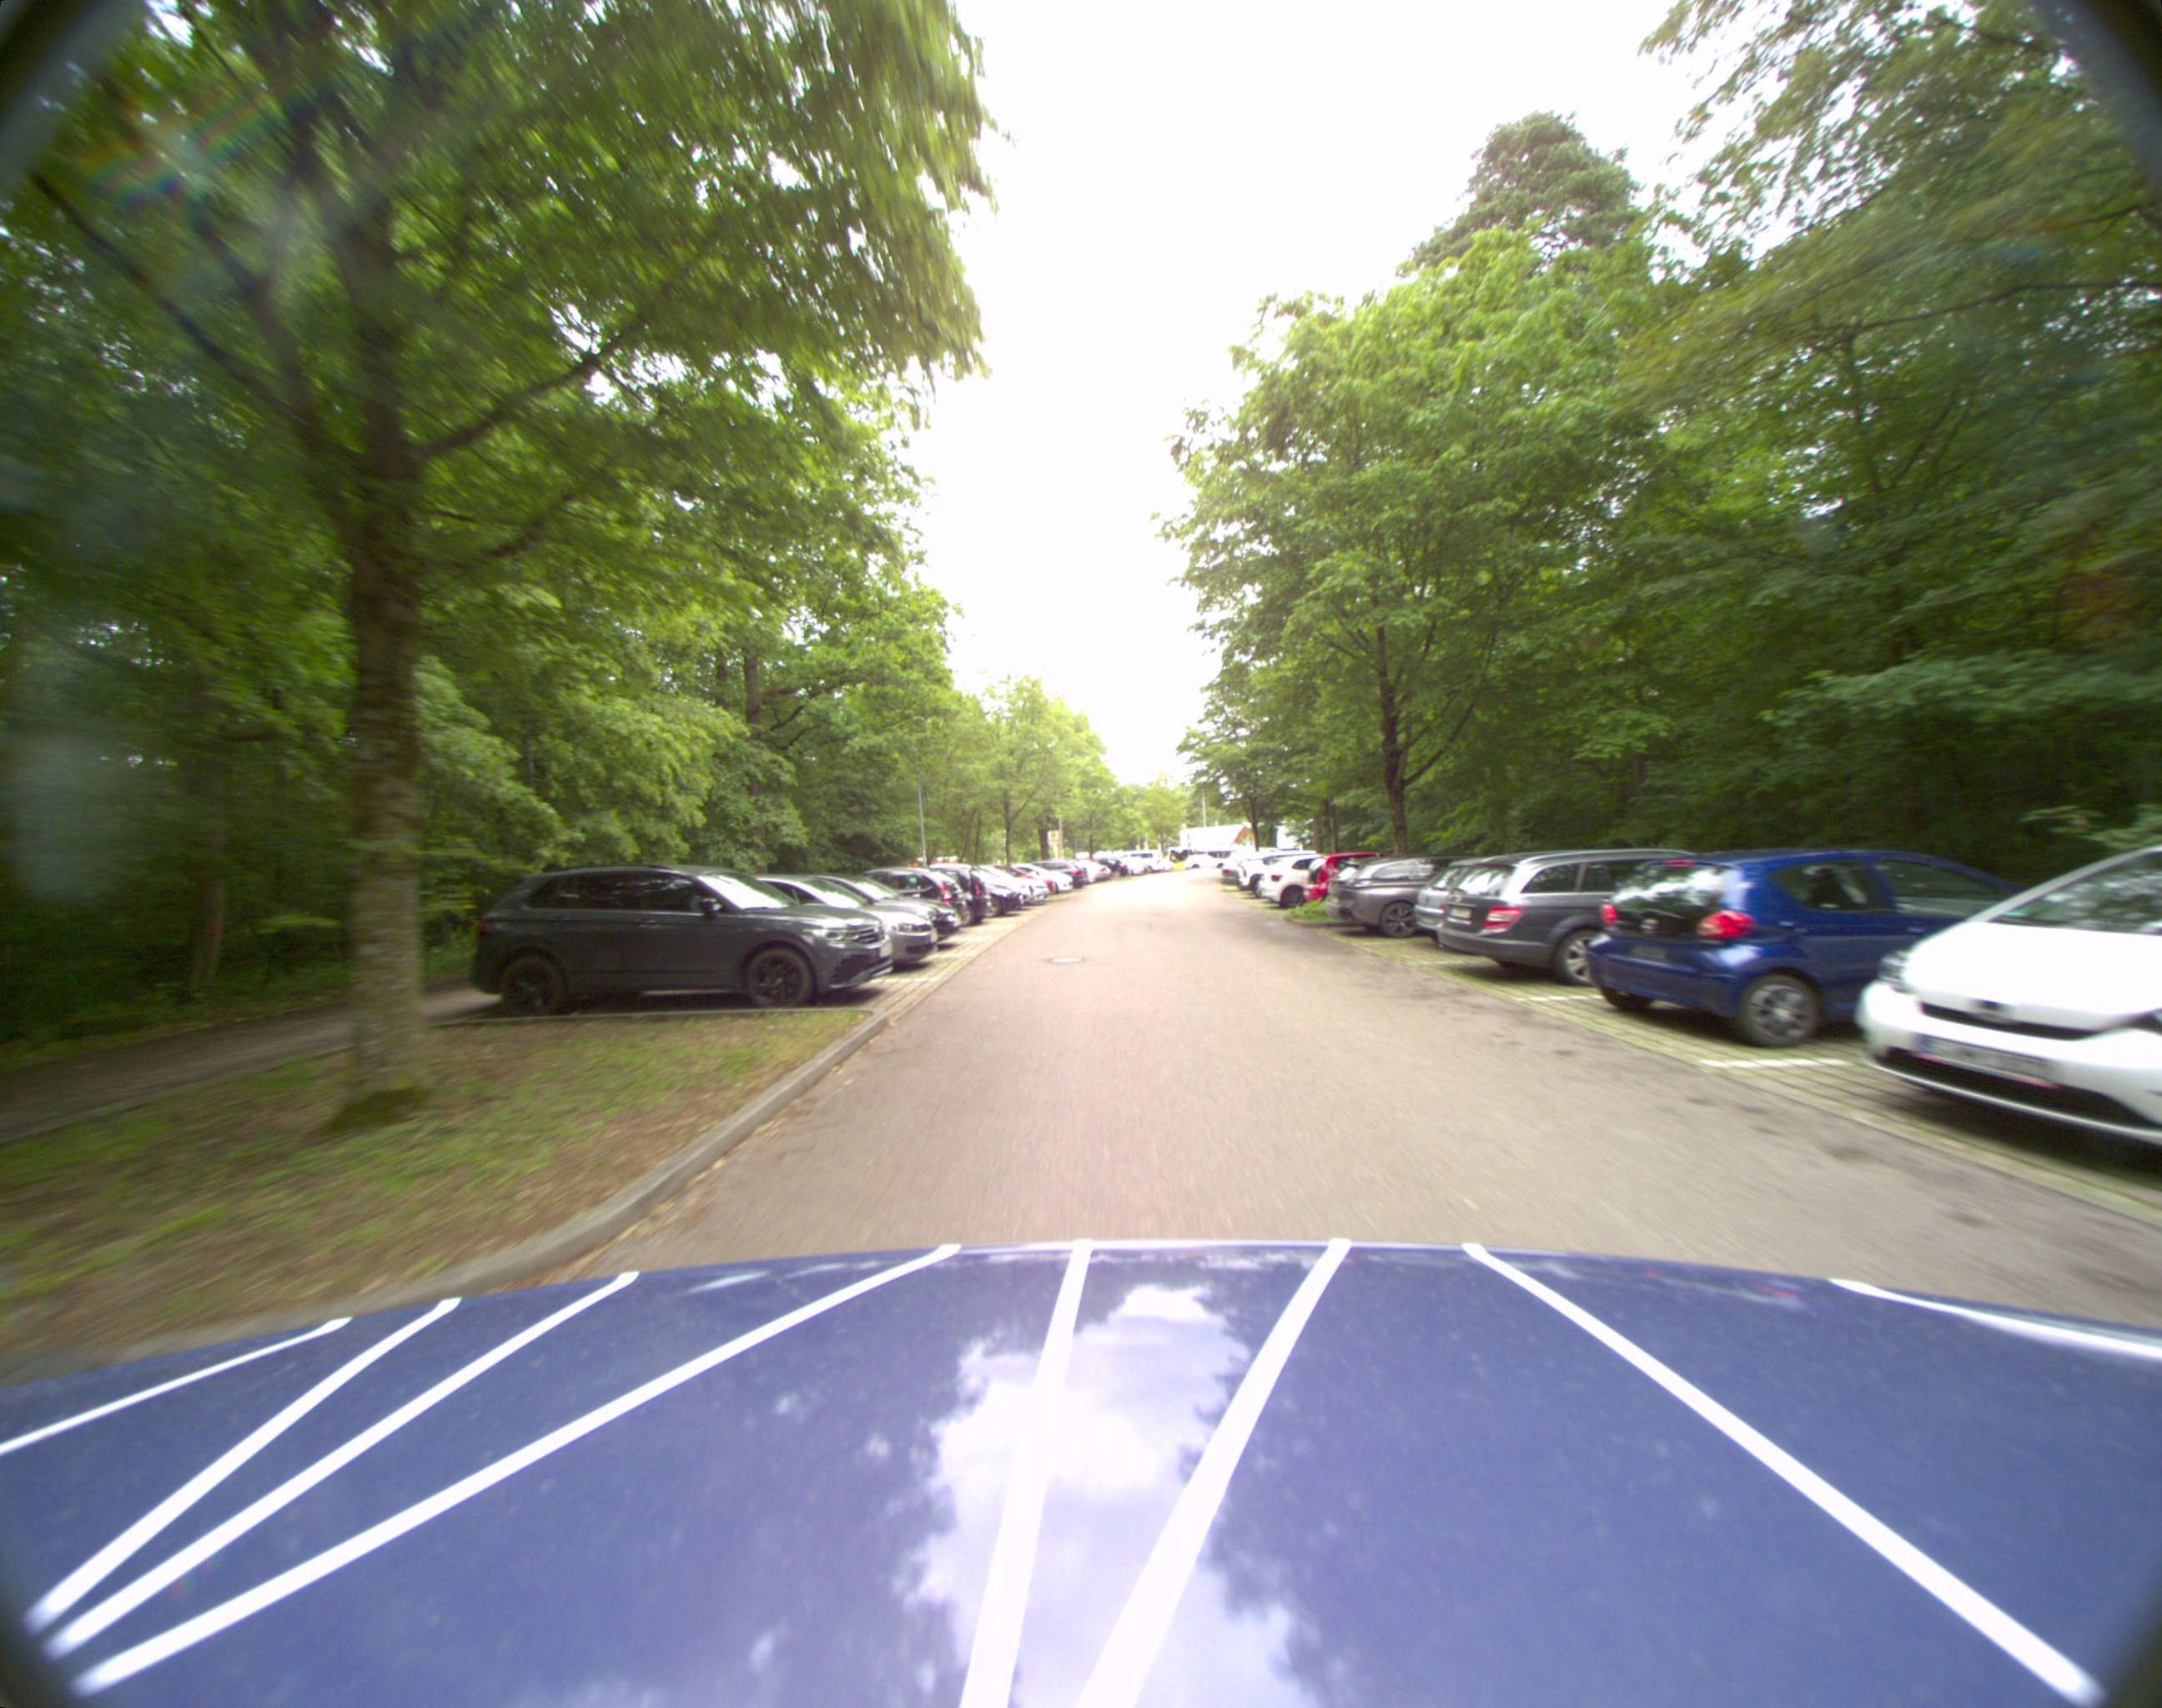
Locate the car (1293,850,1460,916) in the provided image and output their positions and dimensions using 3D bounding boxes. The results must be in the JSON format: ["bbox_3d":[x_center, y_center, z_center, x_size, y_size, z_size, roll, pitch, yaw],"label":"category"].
[{"bbox_3d":[7.154,0.689,18.663,3.472,1.472,1.684,-1,0,5],"label":"car"}]

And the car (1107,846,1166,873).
[{"bbox_3d":[4.877,0.499,66.248,4.655,2.008,2.086,-4,-2,18],"label":"car"}]

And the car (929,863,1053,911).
[{"bbox_3d":[-3.101,1.132,26.703,3.985,1.475,1.884,-2,-1,3],"label":"car"}]

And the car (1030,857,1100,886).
[{"bbox_3d":[-0.892,0.987,44.259,3.708,1.502,1.752,-2,1,11],"label":"car"}]

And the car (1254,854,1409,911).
[{"bbox_3d":[6.823,0.763,21.037,3.734,1.411,1.873,-2,0,5],"label":"car"}]

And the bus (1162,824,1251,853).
[{"bbox_3d":[15.535,-1.917,94.242,10.522,3.139,2.810,-2,-2,-13],"label":"bus"}]

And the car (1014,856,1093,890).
[{"bbox_3d":[-1.402,0.977,39.656,3.775,1.580,1.951,-3,-1,10],"label":"car"}]

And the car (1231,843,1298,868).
[{"bbox_3d":[14.990,0.127,62.002,5.091,1.904,1.981,-2,0,19],"label":"car"}]

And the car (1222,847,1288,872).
[{"bbox_3d":[12.091,0.352,52.718,4.361,1.588,2.033,-2,0,15],"label":"car"}]

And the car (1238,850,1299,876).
[{"bbox_3d":[11.672,0.549,47.416,3.612,1.465,1.676,-2,0,14],"label":"car"}]

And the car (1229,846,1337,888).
[{"bbox_3d":[8.738,0.558,33.175,4.242,1.637,1.971,-2,0,6],"label":"car"}]

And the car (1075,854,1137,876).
[{"bbox_3d":[1.910,0.817,56.639,4.235,1.472,1.921,-3,0,15],"label":"car"}]

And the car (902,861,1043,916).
[{"bbox_3d":[-3.388,1.070,24.178,4.016,1.549,1.979,-3,-1,7],"label":"car"}]

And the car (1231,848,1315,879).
[{"bbox_3d":[10.232,0.518,40.840,4.240,1.465,1.721,-2,1,10],"label":"car"}]

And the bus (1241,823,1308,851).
[{"bbox_3d":[24.470,-2.149,96.132,7.759,3.139,2.810,-2,-2,-13],"label":"bus"}]

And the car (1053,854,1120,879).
[{"bbox_3d":[0.369,0.830,49.266,3.994,1.441,1.942,-2,0,10],"label":"car"}]

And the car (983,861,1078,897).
[{"bbox_3d":[-2.241,1.113,34.210,3.940,1.402,1.879,-3,-1,7],"label":"car"}]

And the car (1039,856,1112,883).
[{"bbox_3d":[-0.310,0.915,46.486,4.133,1.453,1.866,-2,1,12],"label":"car"}]

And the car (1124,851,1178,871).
[{"bbox_3d":[6.594,0.658,71.186,4.524,1.683,2.169,-2,0,23],"label":"car"}]

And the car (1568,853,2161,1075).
[{"bbox_3d":[6.109,0.769,6.155,3.227,1.436,1.680,-2,0,0],"label":"car"}]

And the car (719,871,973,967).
[{"bbox_3d":[-4.207,1.153,14.063,3.996,1.466,1.953,-2,0,4],"label":"car"}]

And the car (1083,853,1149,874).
[{"bbox_3d":[2.703,0.761,59.218,4.778,1.467,1.855,-2,-1,18],"label":"car"}]

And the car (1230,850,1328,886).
[{"bbox_3d":[9.223,0.637,35.634,4.241,1.524,1.763,-2,0,7],"label":"car"}]

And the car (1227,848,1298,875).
[{"bbox_3d":[10.726,0.466,45.143,3.994,1.482,1.709,-1,0,10],"label":"car"}]

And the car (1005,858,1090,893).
[{"bbox_3d":[-1.564,1.008,36.491,3.776,1.472,1.775,-2,-1,5],"label":"car"}]

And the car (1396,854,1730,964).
[{"bbox_3d":[6.907,0.765,11.240,3.765,1.379,1.757,-2,0,5],"label":"car"}]

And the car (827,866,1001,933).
[{"bbox_3d":[-4.089,1.110,19.029,3.835,1.449,1.809,-2,1,4],"label":"car"}]

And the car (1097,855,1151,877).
[{"bbox_3d":[3.481,0.978,61.460,3.993,1.475,1.879,-4,0,16],"label":"car"}]

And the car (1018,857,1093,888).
[{"bbox_3d":[-1.380,1.001,42.097,3.850,1.537,1.731,-2,0,8],"label":"car"}]

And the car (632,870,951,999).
[{"bbox_3d":[-4.122,1.117,11.413,3.998,1.542,1.975,-2,0,-3],"label":"car"}]

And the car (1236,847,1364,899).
[{"bbox_3d":[7.361,0.642,25.763,3.966,1.618,2.000,-2,0,14],"label":"car"}]

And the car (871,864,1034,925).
[{"bbox_3d":[-3.575,1.118,21.651,4.197,1.503,1.894,-2,-1,3],"label":"car"}]

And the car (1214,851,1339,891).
[{"bbox_3d":[7.863,0.676,30.973,4.648,1.469,2.096,-2,0,7],"label":"car"}]

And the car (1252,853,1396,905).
[{"bbox_3d":[7.344,0.745,23.261,3.811,1.412,1.897,-2,0,2],"label":"car"}]

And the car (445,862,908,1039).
[{"bbox_3d":[-4.431,1.023,8.845,4.276,1.656,1.958,-2,0,2],"label":"car"}]

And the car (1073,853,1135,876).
[{"bbox_3d":[1.658,0.727,54.048,3.993,1.474,1.924,-2,0,15],"label":"car"}]

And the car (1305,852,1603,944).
[{"bbox_3d":[6.576,0.756,13.867,4.414,1.416,2.036,-2,0,4],"label":"car"}]

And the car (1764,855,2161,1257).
[{"bbox_3d":[6.369,0.762,3.742,4.377,1.477,1.891,-2,1,-2],"label":"car"}]

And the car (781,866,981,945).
[{"bbox_3d":[-4.310,1.096,16.798,3.836,1.522,1.851,-1,0,3],"label":"car"}]

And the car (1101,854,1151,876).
[{"bbox_3d":[3.779,0.970,63.765,3.728,1.545,1.849,-4,-3,16],"label":"car"}]

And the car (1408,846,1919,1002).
[{"bbox_3d":[6.398,0.735,8.848,4.275,1.477,2.058,-2,0,4],"label":"car"}]

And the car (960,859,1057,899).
[{"bbox_3d":[-2.945,1.011,31.391,3.804,1.432,1.870,-2,-1,-1],"label":"car"}]

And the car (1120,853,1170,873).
[{"bbox_3d":[5.810,0.844,68.814,4.001,1.546,1.950,-4,-2,24],"label":"car"}]

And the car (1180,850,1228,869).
[{"bbox_3d":[13.871,0.630,85.691,4.926,1.766,2.000,-3,-3,-4],"label":"car"}]

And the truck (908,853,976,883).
[{"bbox_3d":[-18.366,1.858,100.417,8.233,3.493,2.871,-2,-1,13],"label":"truck"}]
